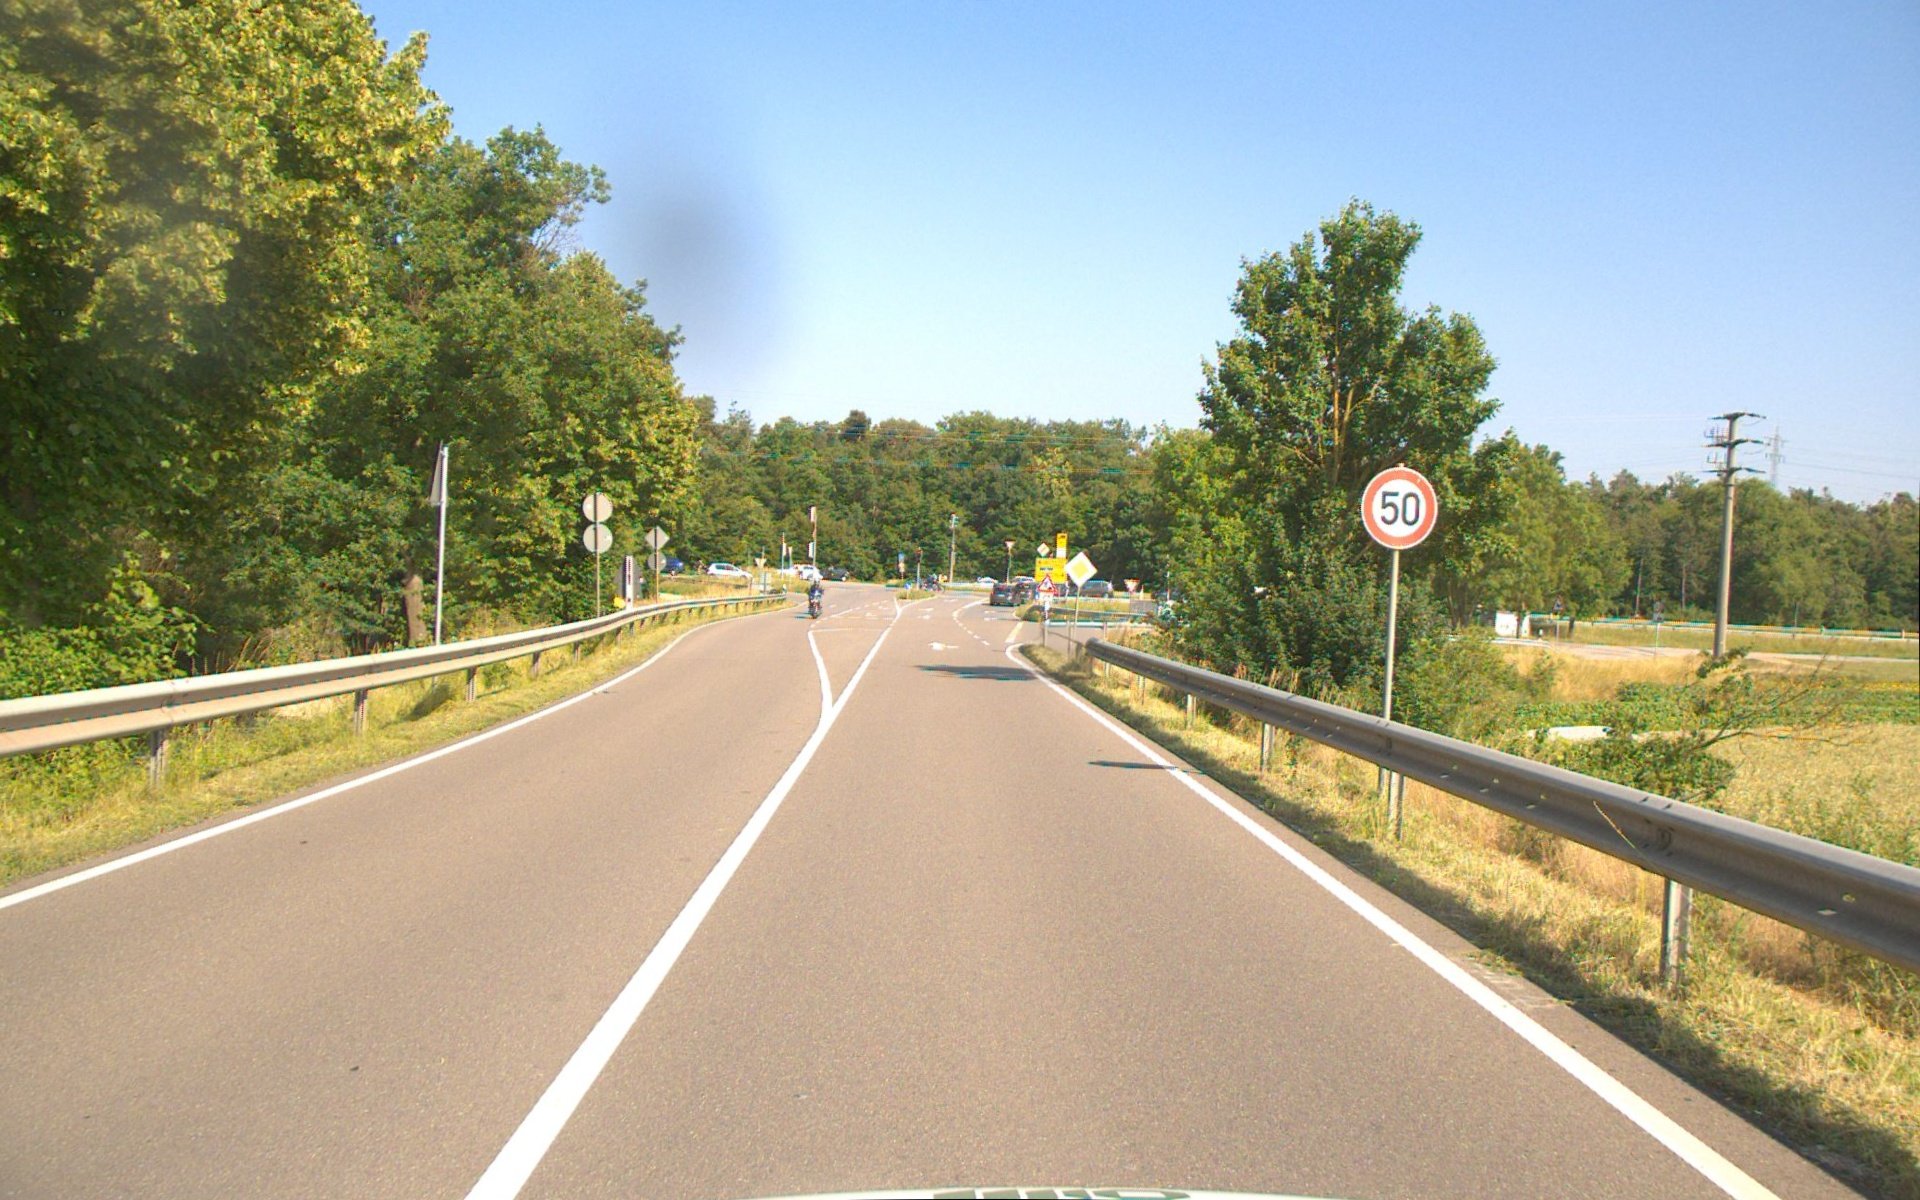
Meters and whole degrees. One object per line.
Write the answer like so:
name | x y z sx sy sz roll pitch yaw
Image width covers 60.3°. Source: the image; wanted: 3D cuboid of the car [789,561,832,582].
car | -14.928 -2.836 165.332 3.932 2.049 1.784 0 1 -22

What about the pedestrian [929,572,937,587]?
pedestrian | -2.569 -1.998 158.320 0.513 1.415 0.512 1 0 32

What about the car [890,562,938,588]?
car | -3.992 -2.127 142.513 3.913 2.048 1.797 2 2 -9

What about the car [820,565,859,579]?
car | -12.572 -2.902 172.693 3.911 1.447 1.793 1 1 -7

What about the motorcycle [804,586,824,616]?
motorcycle | -6.335 0.020 71.928 0.702 1.272 2.078 1 1 -1

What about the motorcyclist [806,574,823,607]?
motorcyclist | -6.337 -0.410 71.984 0.684 1.432 0.784 1 0 -1

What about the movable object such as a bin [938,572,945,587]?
movable object such as a bin | -1.776 -1.973 159.040 0.589 1.514 0.732 1 0 7

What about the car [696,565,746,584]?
car | -20.097 -2.148 139.135 4.148 1.485 1.997 1 1 -8

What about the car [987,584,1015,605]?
car | 3.000 -0.432 120.518 1.761 1.422 4.003 -2 0 5

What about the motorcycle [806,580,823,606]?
motorcycle | -7.332 -0.360 83.652 0.702 1.331 2.181 1 1 -1

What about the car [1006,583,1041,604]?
car | 4.934 -0.504 128.112 1.761 1.527 4.003 3 1 16
